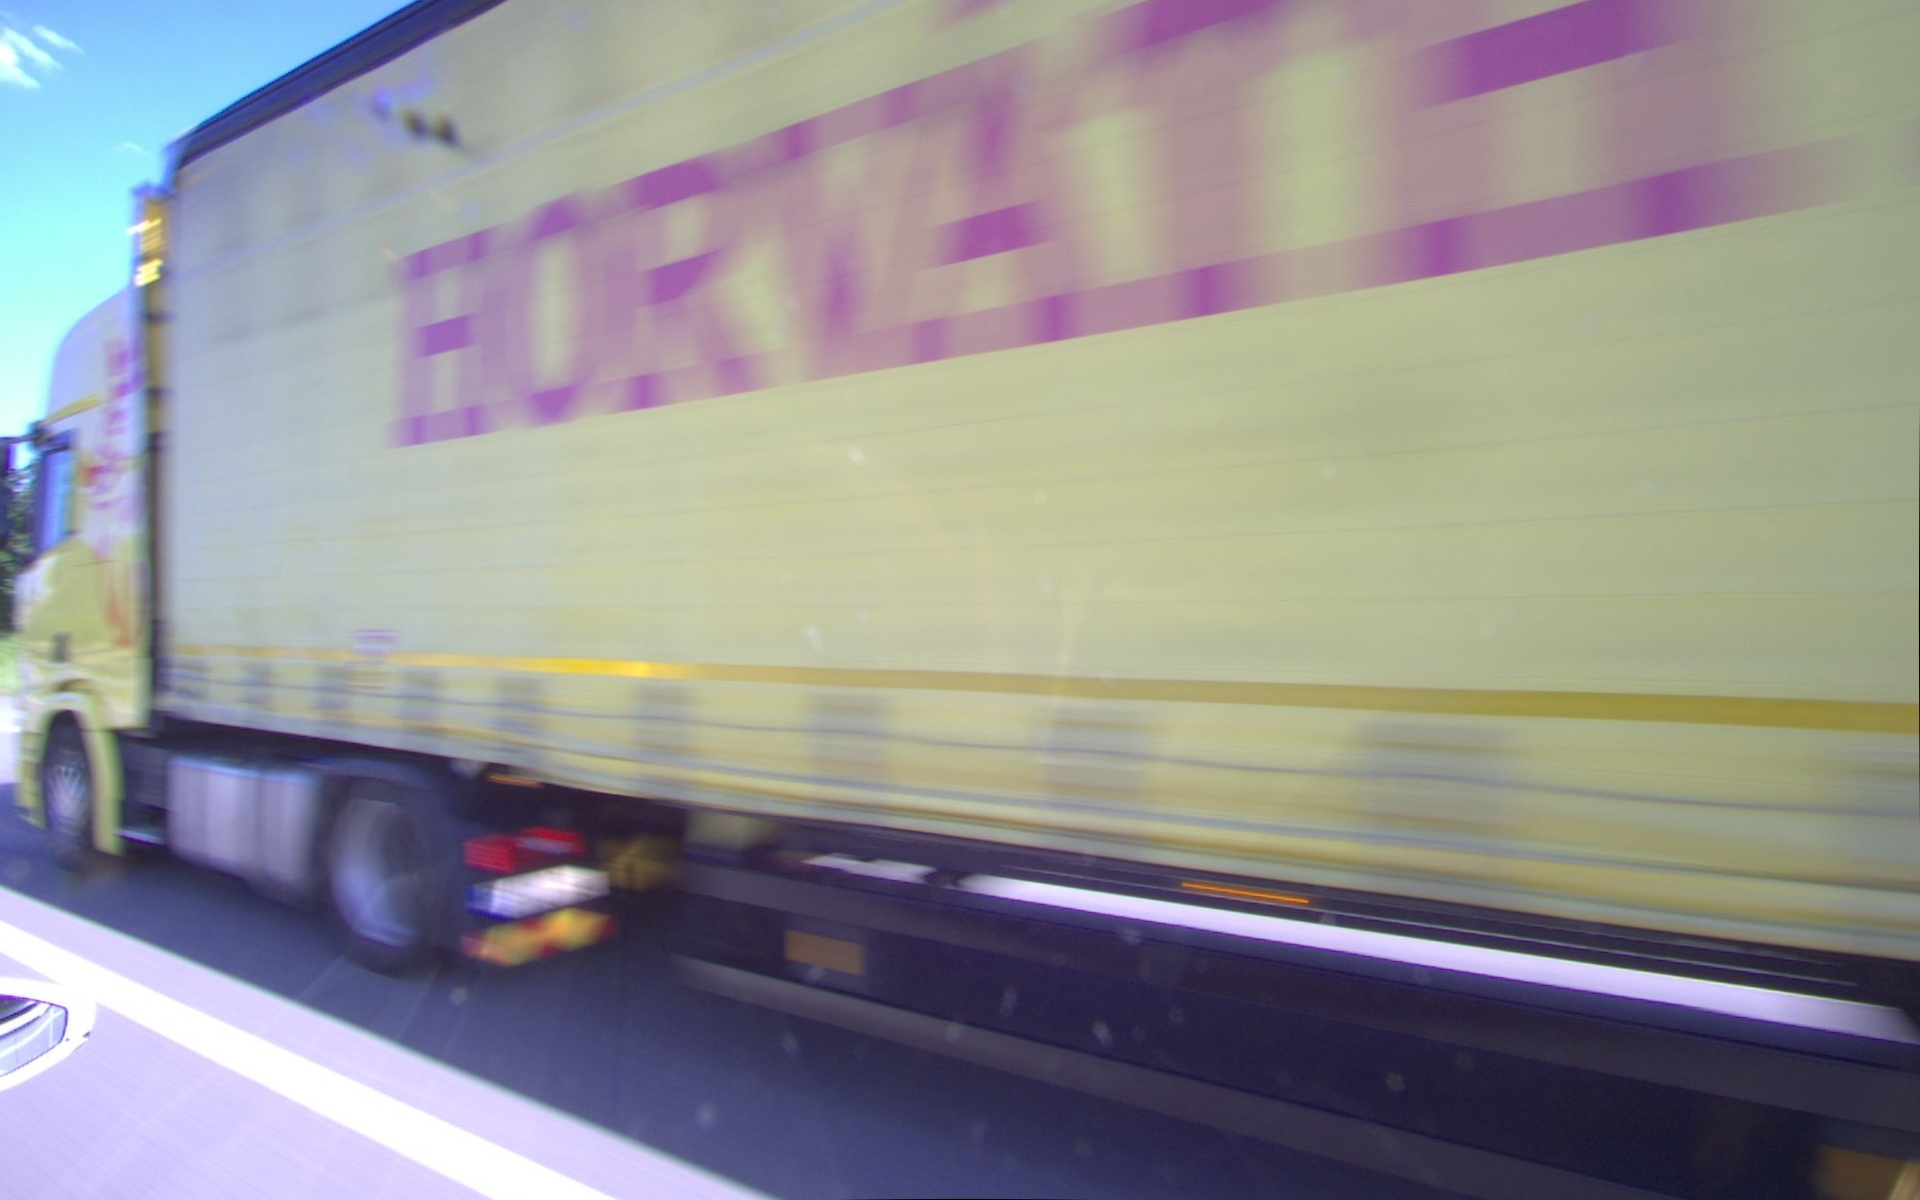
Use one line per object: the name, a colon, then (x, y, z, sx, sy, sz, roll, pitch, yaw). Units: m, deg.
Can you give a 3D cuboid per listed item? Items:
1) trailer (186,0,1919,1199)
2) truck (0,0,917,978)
trailer: (2.513, -0.684, 2.842, 12.998, 4.111, 3.179, -1, -2, 32)
truck: (-3.771, -0.559, 6.782, 6.295, 4.166, 3.165, -1, -2, 31)
